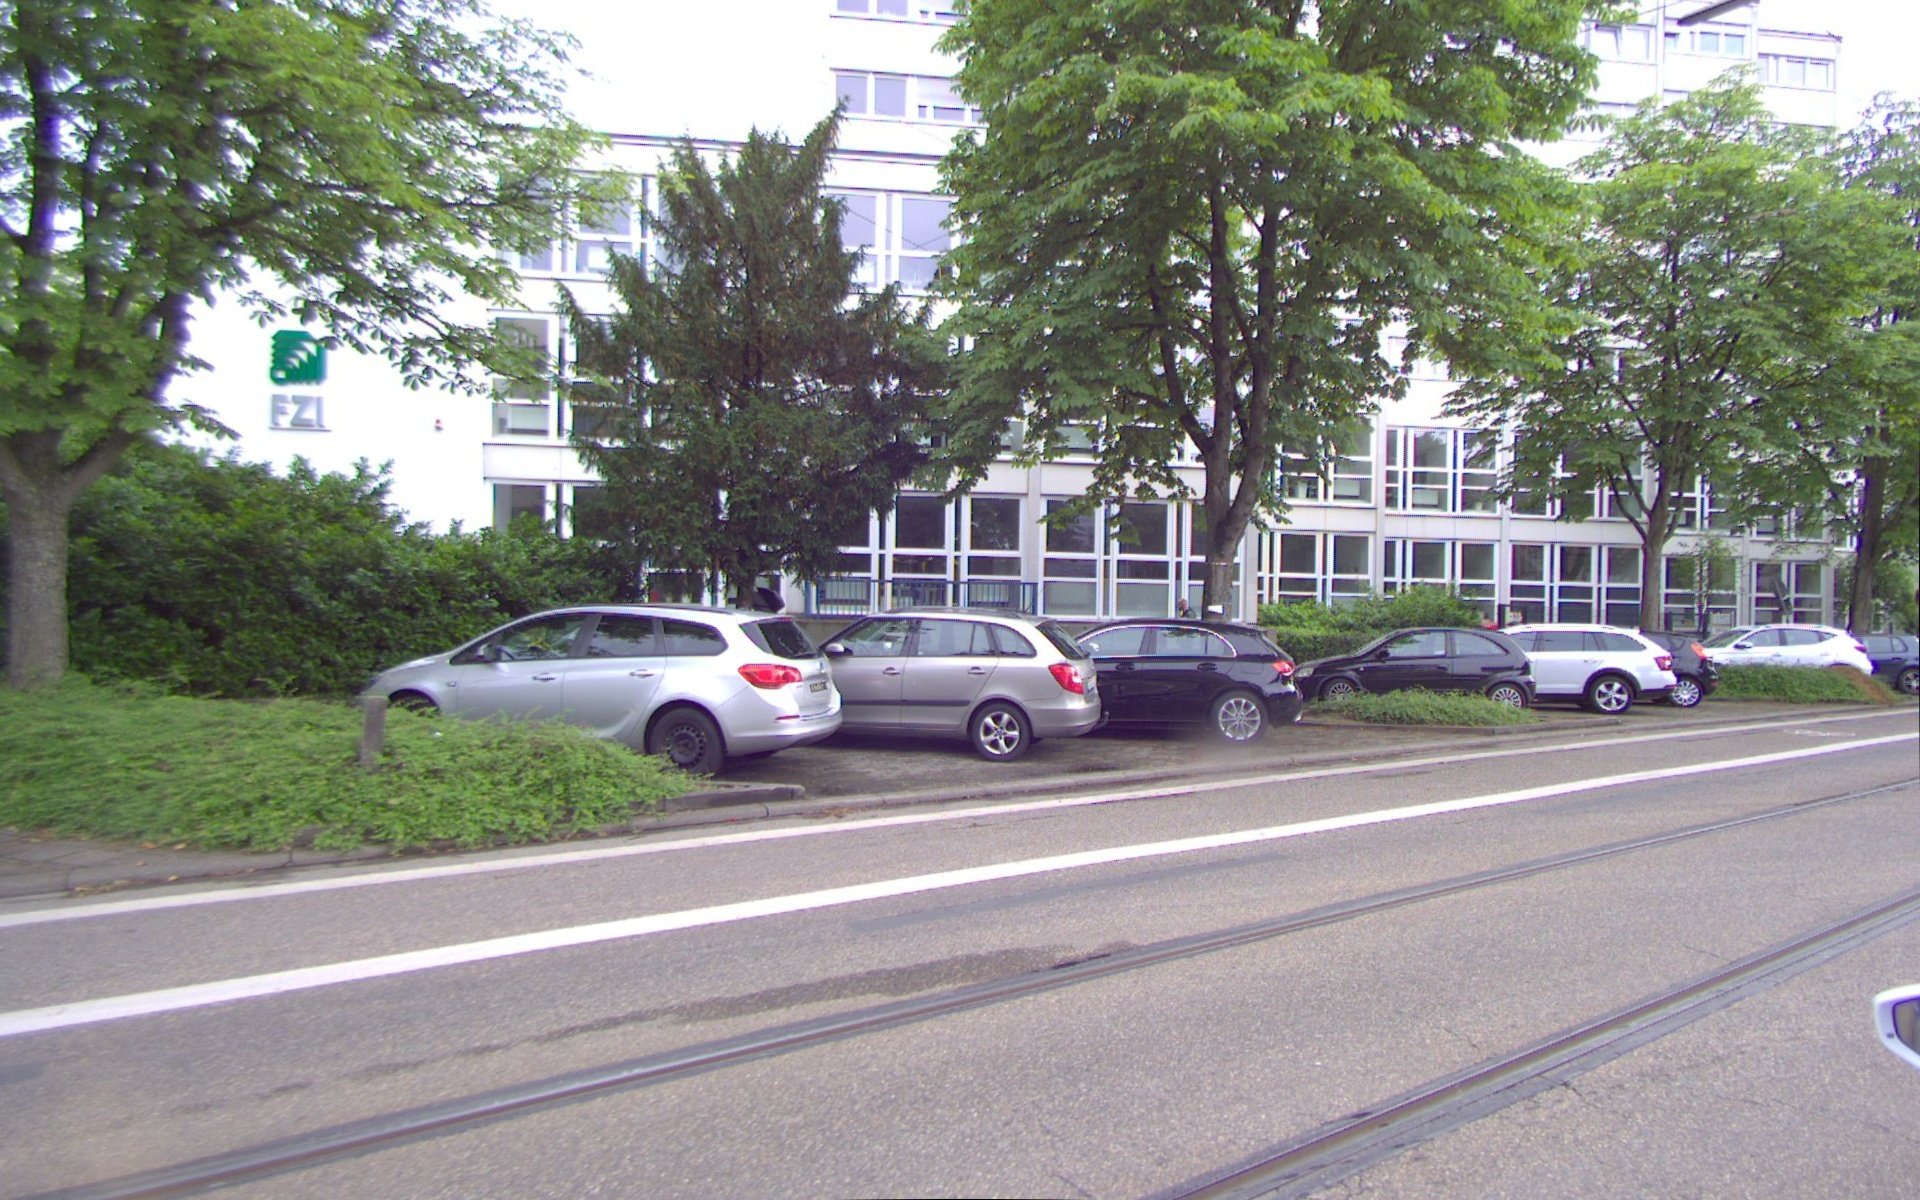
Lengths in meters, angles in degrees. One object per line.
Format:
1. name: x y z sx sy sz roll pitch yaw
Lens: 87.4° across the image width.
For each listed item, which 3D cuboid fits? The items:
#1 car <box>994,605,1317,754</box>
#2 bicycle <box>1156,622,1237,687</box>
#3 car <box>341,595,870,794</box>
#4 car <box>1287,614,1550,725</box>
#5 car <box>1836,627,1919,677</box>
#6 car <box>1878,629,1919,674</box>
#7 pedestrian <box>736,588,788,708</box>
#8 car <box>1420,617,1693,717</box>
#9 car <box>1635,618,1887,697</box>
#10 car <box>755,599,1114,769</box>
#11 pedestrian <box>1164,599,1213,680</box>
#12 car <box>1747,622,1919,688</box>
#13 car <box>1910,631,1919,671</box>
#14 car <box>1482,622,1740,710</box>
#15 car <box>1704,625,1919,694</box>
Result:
1. car: 2.392 0.888 12.439 3.631 1.544 1.701 2 1 14
2. bicycle: 4.959 1.134 21.069 1.566 1.285 0.405 3 0 -9
3. car: -3.218 0.780 9.467 4.342 1.484 1.805 2 0 11
4. car: 7.383 1.082 16.539 3.631 1.544 1.701 2 1 14
5. car: 29.355 1.605 30.399 3.888 1.370 1.701 2 0 13
6. car: 32.267 1.714 32.139 3.888 1.370 1.701 2 0 13
7. pedestrian: -3.455 0.833 17.504 0.843 2.040 0.463 1 -1 -12
8. car: 10.559 1.135 18.124 3.949 1.504 1.700 2 1 21
9. car: 18.533 1.296 23.433 4.258 1.577 1.701 2 1 9
10. car: -0.220 0.812 10.930 3.577 1.544 1.573 2 1 14
11. pedestrian: 4.788 0.817 21.071 0.721 1.633 0.754 3 1 -8
12. car: 23.998 1.450 26.890 4.258 1.556 1.701 2 1 13
13. car: 34.724 1.806 33.630 3.888 1.370 1.701 2 0 13
14. car: 12.674 1.242 19.852 3.949 1.424 1.700 2 1 21
15. car: 21.384 1.453 24.971 4.258 1.473 1.701 2 1 13
